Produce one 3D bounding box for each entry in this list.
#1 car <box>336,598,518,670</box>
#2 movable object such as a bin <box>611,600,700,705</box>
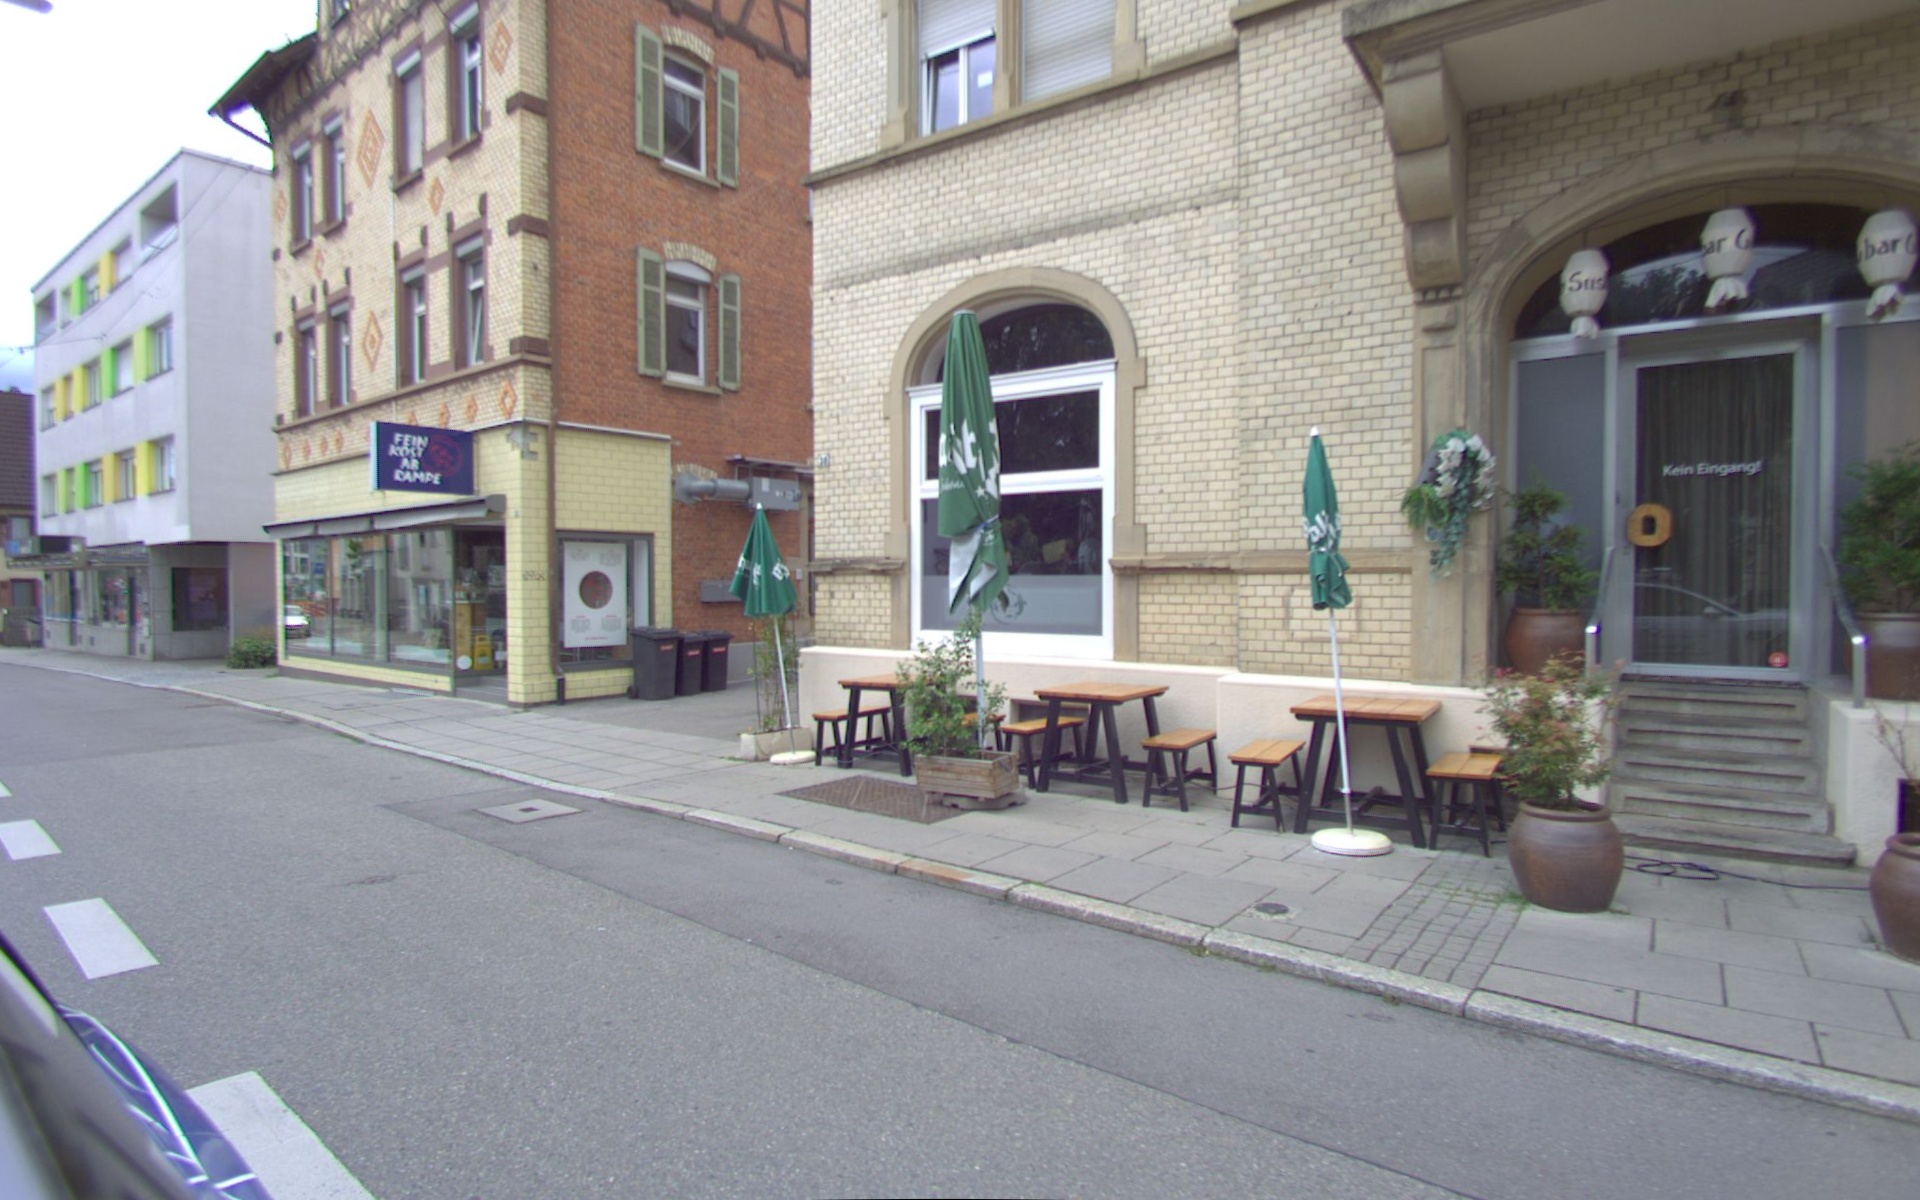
[{"bbox_3d":[-14.446,0.858,27.577,1.885,1.674,3.955,-1,1,41],"label":"car"},{"bbox_3d":[-4.444,0.733,14.799,0.823,1.388,0.932,3,5,41],"label":"movable object such as a bin"}]
